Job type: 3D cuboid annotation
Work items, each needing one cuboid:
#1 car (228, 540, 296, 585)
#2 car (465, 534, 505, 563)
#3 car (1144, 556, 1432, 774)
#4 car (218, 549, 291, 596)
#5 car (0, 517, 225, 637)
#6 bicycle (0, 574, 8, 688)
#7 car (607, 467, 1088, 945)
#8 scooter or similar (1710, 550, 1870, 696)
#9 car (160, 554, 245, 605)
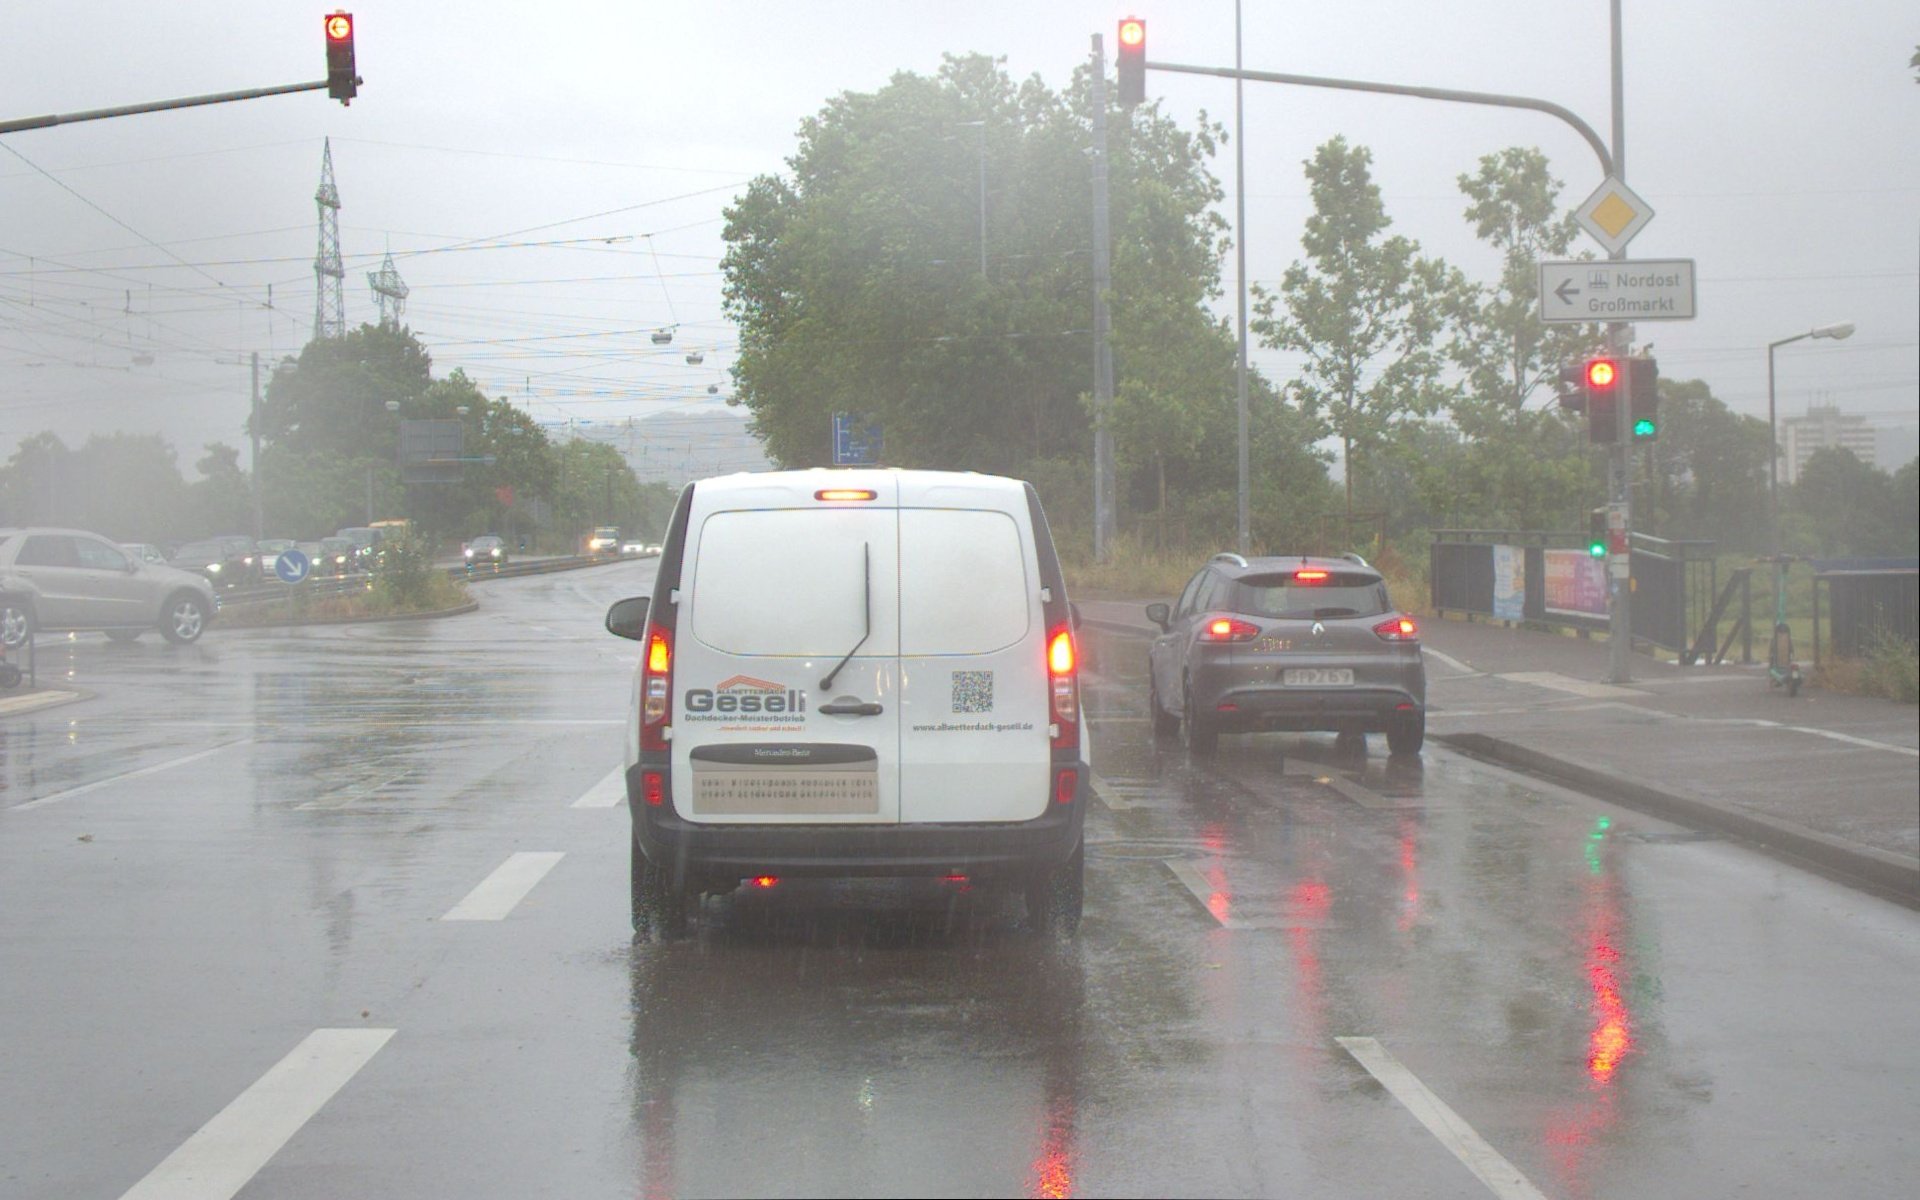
[{"bbox_3d":[-23.447,-1.241,115.620,1.559,1.421,3.569,2,0,-1],"label":"car"},{"bbox_3d":[-24.372,-2.641,176.570,1.559,1.421,3.569,2,0,-1],"label":"car"},{"bbox_3d":[2.409,0.438,26.069,1.684,1.503,3.921,1,1,-2],"label":"car"},{"bbox_3d":[-22.305,-0.859,108.802,1.559,1.421,3.569,2,0,-1],"label":"car"},{"bbox_3d":[-13.294,-0.328,50.554,4.451,1.656,1.953,2,-1,-42],"label":"car"},{"bbox_3d":[-10.340,0.300,33.936,1.754,1.134,0.520,0,1,-43],"label":"bicycle"},{"bbox_3d":[-0.561,0.335,14.662,1.754,1.744,4.170,0,2,-4],"label":"car"},{"bbox_3d":[7.297,0.170,30.358,0.690,1.207,3.020,-1,1,0],"label":"scooter or similar"},{"bbox_3d":[-22.375,-0.581,101.656,1.710,1.421,3.809,2,0,-1],"label":"car"}]
